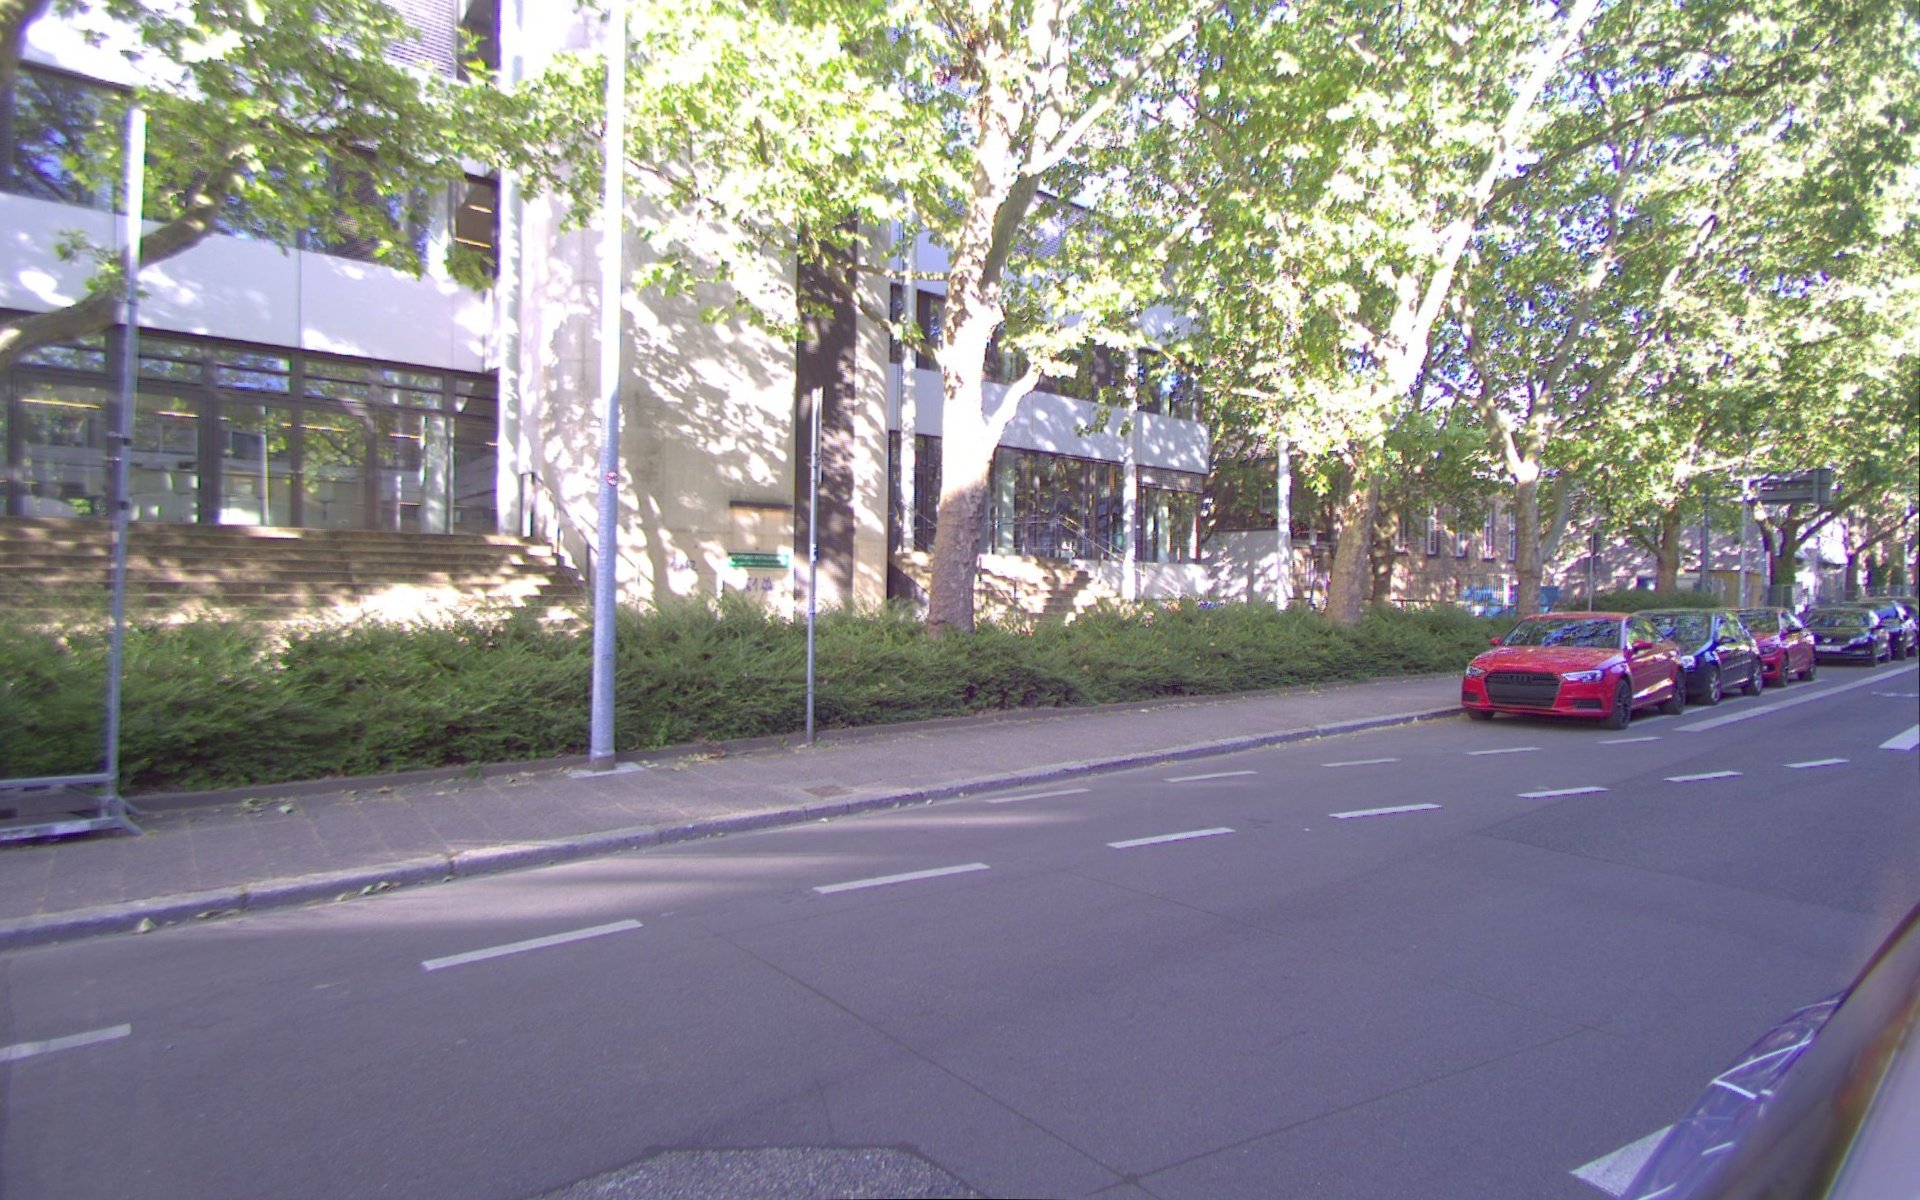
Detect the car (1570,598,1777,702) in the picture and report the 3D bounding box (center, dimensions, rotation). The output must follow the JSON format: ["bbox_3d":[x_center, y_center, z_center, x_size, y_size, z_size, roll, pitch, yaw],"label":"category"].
[{"bbox_3d":[11.764,0.725,16.626,3.581,1.478,1.997,-1,0,-41],"label":"car"}]

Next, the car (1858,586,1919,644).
[{"bbox_3d":[31.274,0.446,33.309,4.493,1.809,1.997,-1,0,-41],"label":"car"}]

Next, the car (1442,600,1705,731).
[{"bbox_3d":[8.267,0.748,13.521,3.930,1.443,1.906,-1,0,-41],"label":"car"}]

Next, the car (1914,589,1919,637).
[{"bbox_3d":[39.633,0.481,40.303,3.930,1.872,1.997,-1,0,-41],"label":"car"}]

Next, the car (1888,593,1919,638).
[{"bbox_3d":[35.983,0.562,37.446,4.070,1.585,1.997,-1,0,-41],"label":"car"}]

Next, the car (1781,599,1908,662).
[{"bbox_3d":[22.810,0.719,26.059,3.527,1.474,1.997,-1,0,-41],"label":"car"}]

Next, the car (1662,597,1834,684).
[{"bbox_3d":[15.657,0.714,20.050,3.762,1.517,1.997,-1,0,-41],"label":"car"}]

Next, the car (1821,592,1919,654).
[{"bbox_3d":[26.535,0.605,29.180,4.070,1.621,1.997,-1,0,-41],"label":"car"}]
